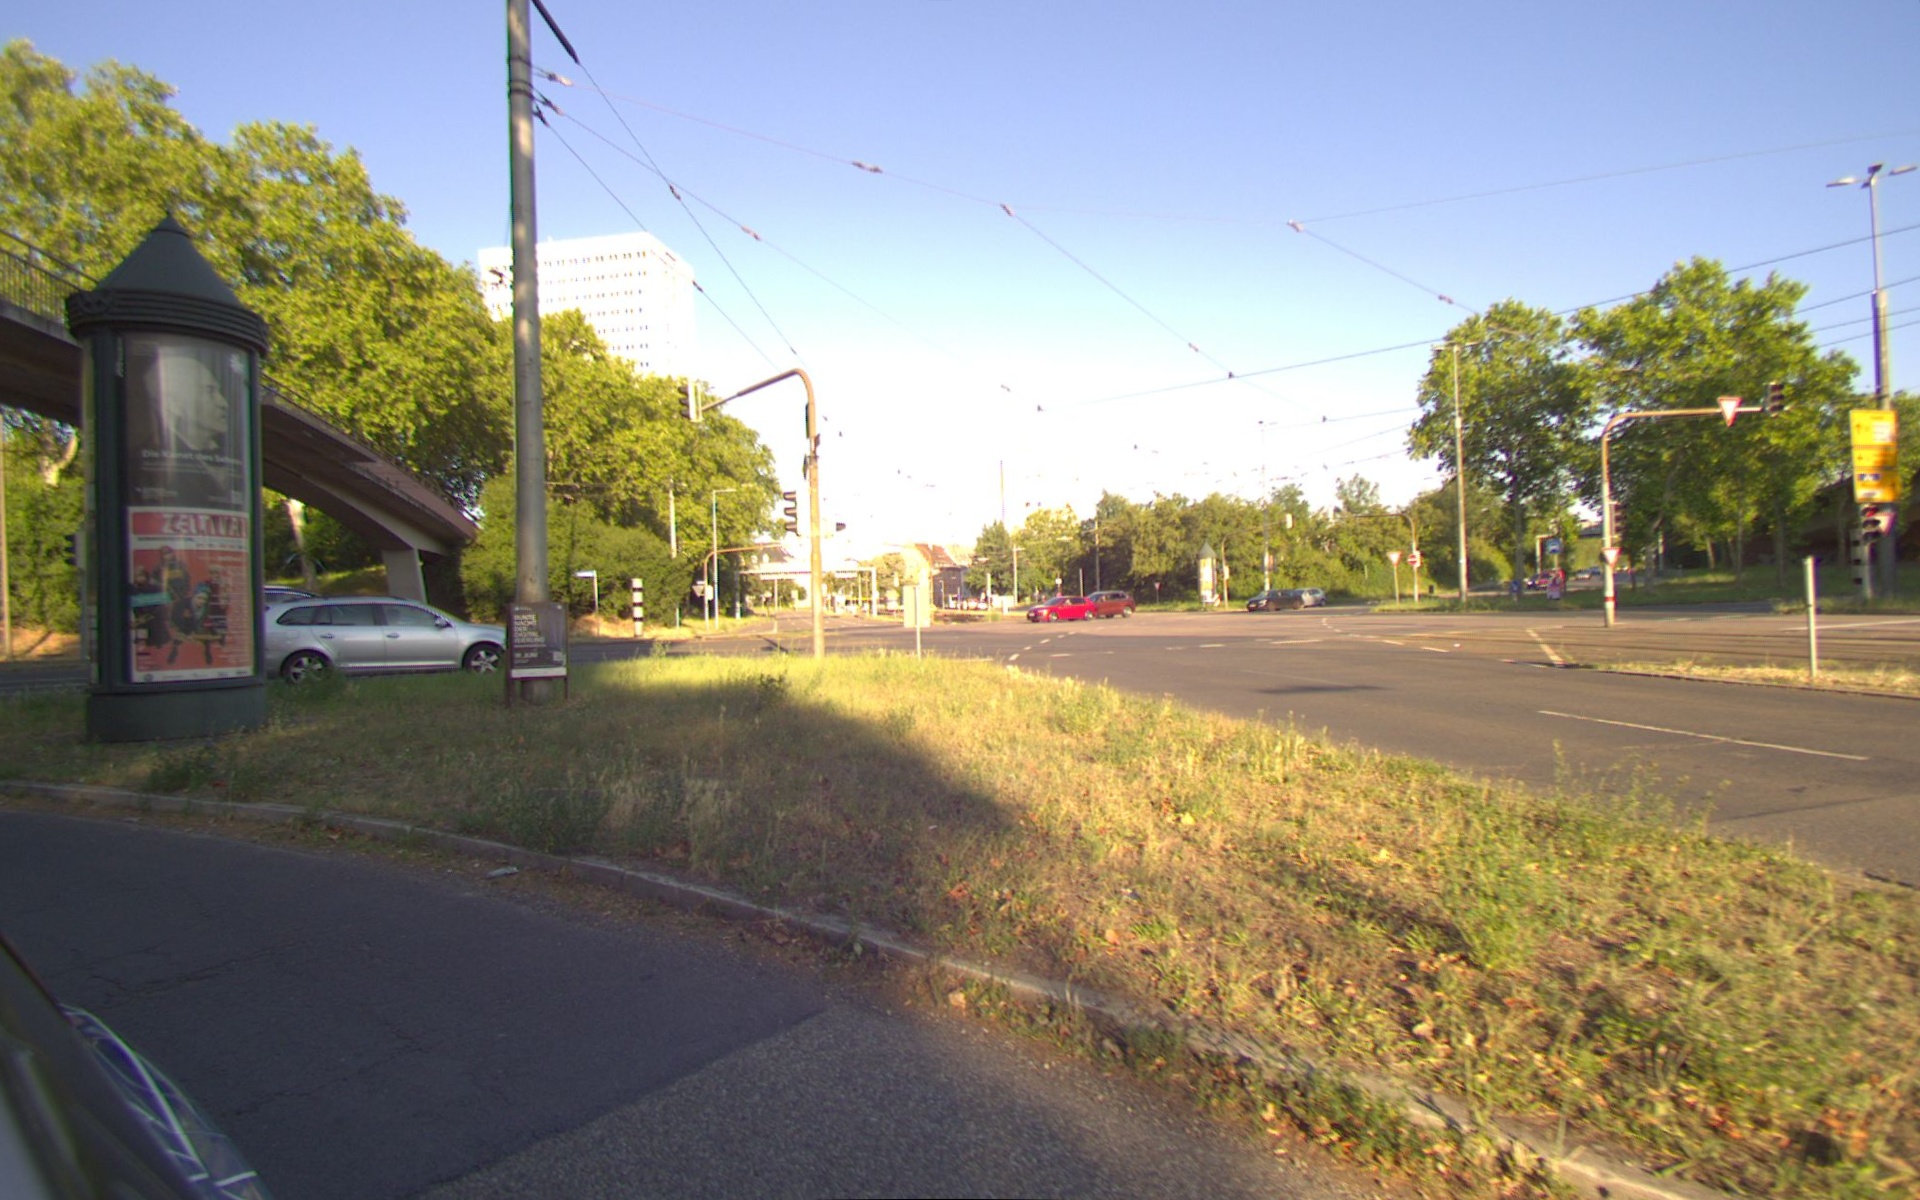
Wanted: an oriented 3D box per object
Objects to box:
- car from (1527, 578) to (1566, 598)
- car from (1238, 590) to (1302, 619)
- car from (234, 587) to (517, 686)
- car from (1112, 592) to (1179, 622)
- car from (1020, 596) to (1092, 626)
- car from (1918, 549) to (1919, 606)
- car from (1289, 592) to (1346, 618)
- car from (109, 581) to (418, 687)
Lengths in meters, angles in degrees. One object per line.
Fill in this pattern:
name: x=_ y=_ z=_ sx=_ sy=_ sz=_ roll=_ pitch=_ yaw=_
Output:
car: x=53.724 y=-1.120 z=92.632 sx=3.938 sy=1.785 sz=1.887 roll=-1 pitch=-1 yaw=-41
car: x=20.708 y=0.298 z=67.593 sx=3.932 sy=1.785 sz=1.890 roll=-1 pitch=0 yaw=-32
car: x=-9.757 y=0.597 z=17.111 sx=3.932 sy=1.453 sz=1.803 roll=-1 pitch=-3 yaw=-31
car: x=11.780 y=0.427 z=64.278 sx=3.932 sy=1.785 sz=1.890 roll=-1 pitch=0 yaw=-32
car: x=5.435 y=0.599 z=57.220 sx=3.612 sy=1.587 sz=1.890 roll=-1 pitch=0 yaw=-32
car: x=20.123 y=-0.205 z=17.741 sx=1.968 sy=1.705 sz=4.526 roll=-2 pitch=0 yaw=-8
car: x=26.597 y=0.366 z=75.219 sx=3.932 sy=1.785 sz=1.890 roll=-1 pitch=0 yaw=-32
car: x=-13.257 y=0.584 z=19.686 sx=4.743 sy=1.806 sz=1.804 roll=-1 pitch=0 yaw=-28
